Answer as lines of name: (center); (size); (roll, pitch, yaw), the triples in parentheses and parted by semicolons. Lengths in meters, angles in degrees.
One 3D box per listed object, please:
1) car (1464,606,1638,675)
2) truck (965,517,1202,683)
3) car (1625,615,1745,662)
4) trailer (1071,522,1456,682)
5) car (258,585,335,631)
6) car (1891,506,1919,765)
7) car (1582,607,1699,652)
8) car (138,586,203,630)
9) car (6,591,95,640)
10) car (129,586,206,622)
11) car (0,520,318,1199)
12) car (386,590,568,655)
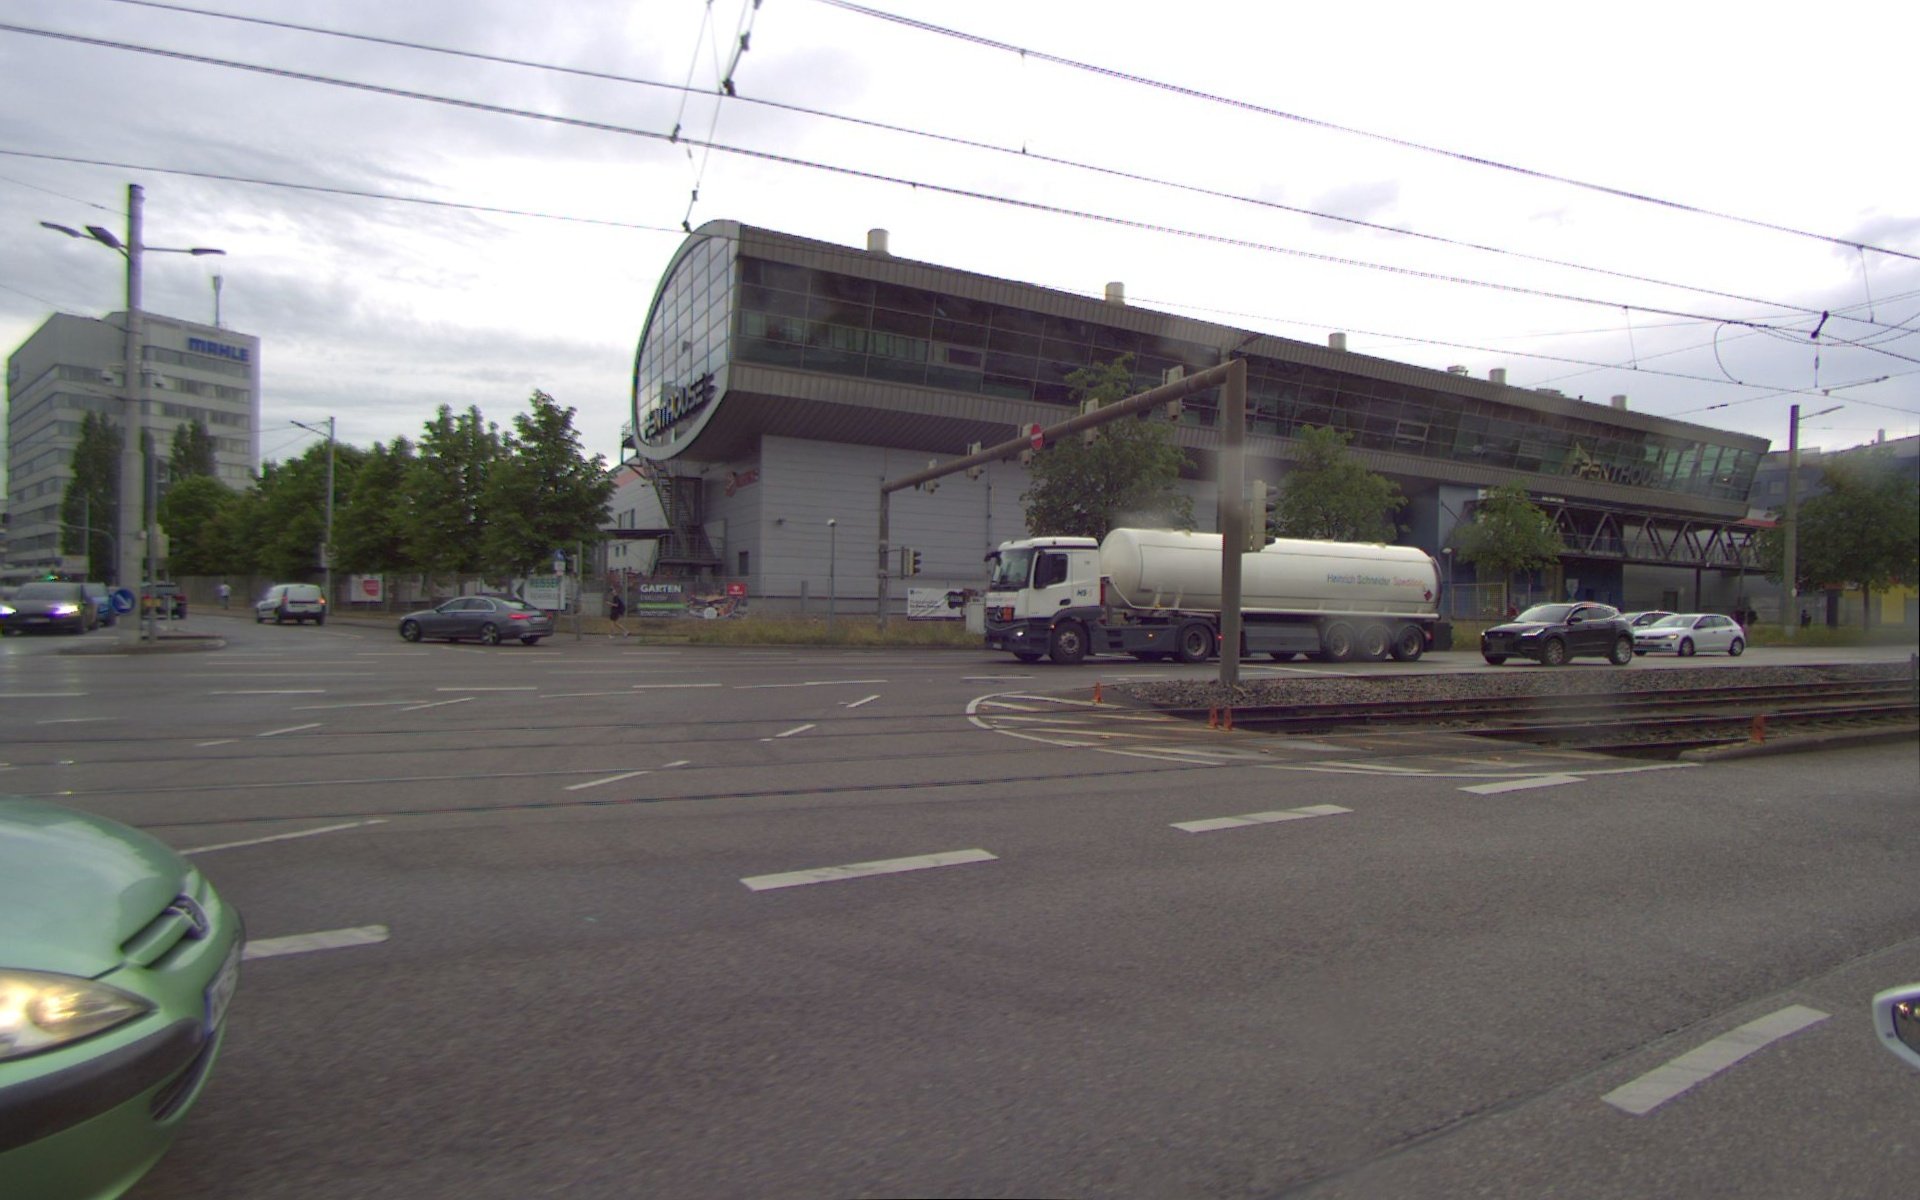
car: (15.797, 1.059, 26.860); (4.136, 1.675, 1.918); (1, 1, -23)
truck: (3.121, 0.079, 25.585); (5.333, 3.855, 2.740); (1, -1, -23)
car: (24.952, 1.301, 34.566); (3.935, 1.530, 1.560); (1, 0, -24)
trailer: (8.615, 0.191, 27.894); (11.068, 3.905, 2.719); (1, -1, -23)
car: (-27.792, 0.302, 42.011); (3.943, 1.708, 1.846); (4, 3, 43)
car: (11.223, 0.372, 9.248); (4.844, 2.325, 2.435); (1, 1, -28)
car: (28.902, 1.243, 42.648); (4.663, 1.843, 1.797); (1, 0, -22)
car: (-37.314, 0.341, 47.465); (3.943, 1.835, 1.846); (4, 3, 43)
car: (-28.676, 0.459, 31.675); (1.986, 1.420, 3.949); (1, 0, -43)
car: (-37.877, 0.192, 47.975); (4.386, 1.630, 1.991); (1, 0, 39)
car: (-3.562, 0.559, 1.435); (4.351, 1.488, 1.686); (1, 2, -30)
car: (-14.281, 0.633, 29.792); (4.550, 1.630, 2.001); (2, 2, 12)
